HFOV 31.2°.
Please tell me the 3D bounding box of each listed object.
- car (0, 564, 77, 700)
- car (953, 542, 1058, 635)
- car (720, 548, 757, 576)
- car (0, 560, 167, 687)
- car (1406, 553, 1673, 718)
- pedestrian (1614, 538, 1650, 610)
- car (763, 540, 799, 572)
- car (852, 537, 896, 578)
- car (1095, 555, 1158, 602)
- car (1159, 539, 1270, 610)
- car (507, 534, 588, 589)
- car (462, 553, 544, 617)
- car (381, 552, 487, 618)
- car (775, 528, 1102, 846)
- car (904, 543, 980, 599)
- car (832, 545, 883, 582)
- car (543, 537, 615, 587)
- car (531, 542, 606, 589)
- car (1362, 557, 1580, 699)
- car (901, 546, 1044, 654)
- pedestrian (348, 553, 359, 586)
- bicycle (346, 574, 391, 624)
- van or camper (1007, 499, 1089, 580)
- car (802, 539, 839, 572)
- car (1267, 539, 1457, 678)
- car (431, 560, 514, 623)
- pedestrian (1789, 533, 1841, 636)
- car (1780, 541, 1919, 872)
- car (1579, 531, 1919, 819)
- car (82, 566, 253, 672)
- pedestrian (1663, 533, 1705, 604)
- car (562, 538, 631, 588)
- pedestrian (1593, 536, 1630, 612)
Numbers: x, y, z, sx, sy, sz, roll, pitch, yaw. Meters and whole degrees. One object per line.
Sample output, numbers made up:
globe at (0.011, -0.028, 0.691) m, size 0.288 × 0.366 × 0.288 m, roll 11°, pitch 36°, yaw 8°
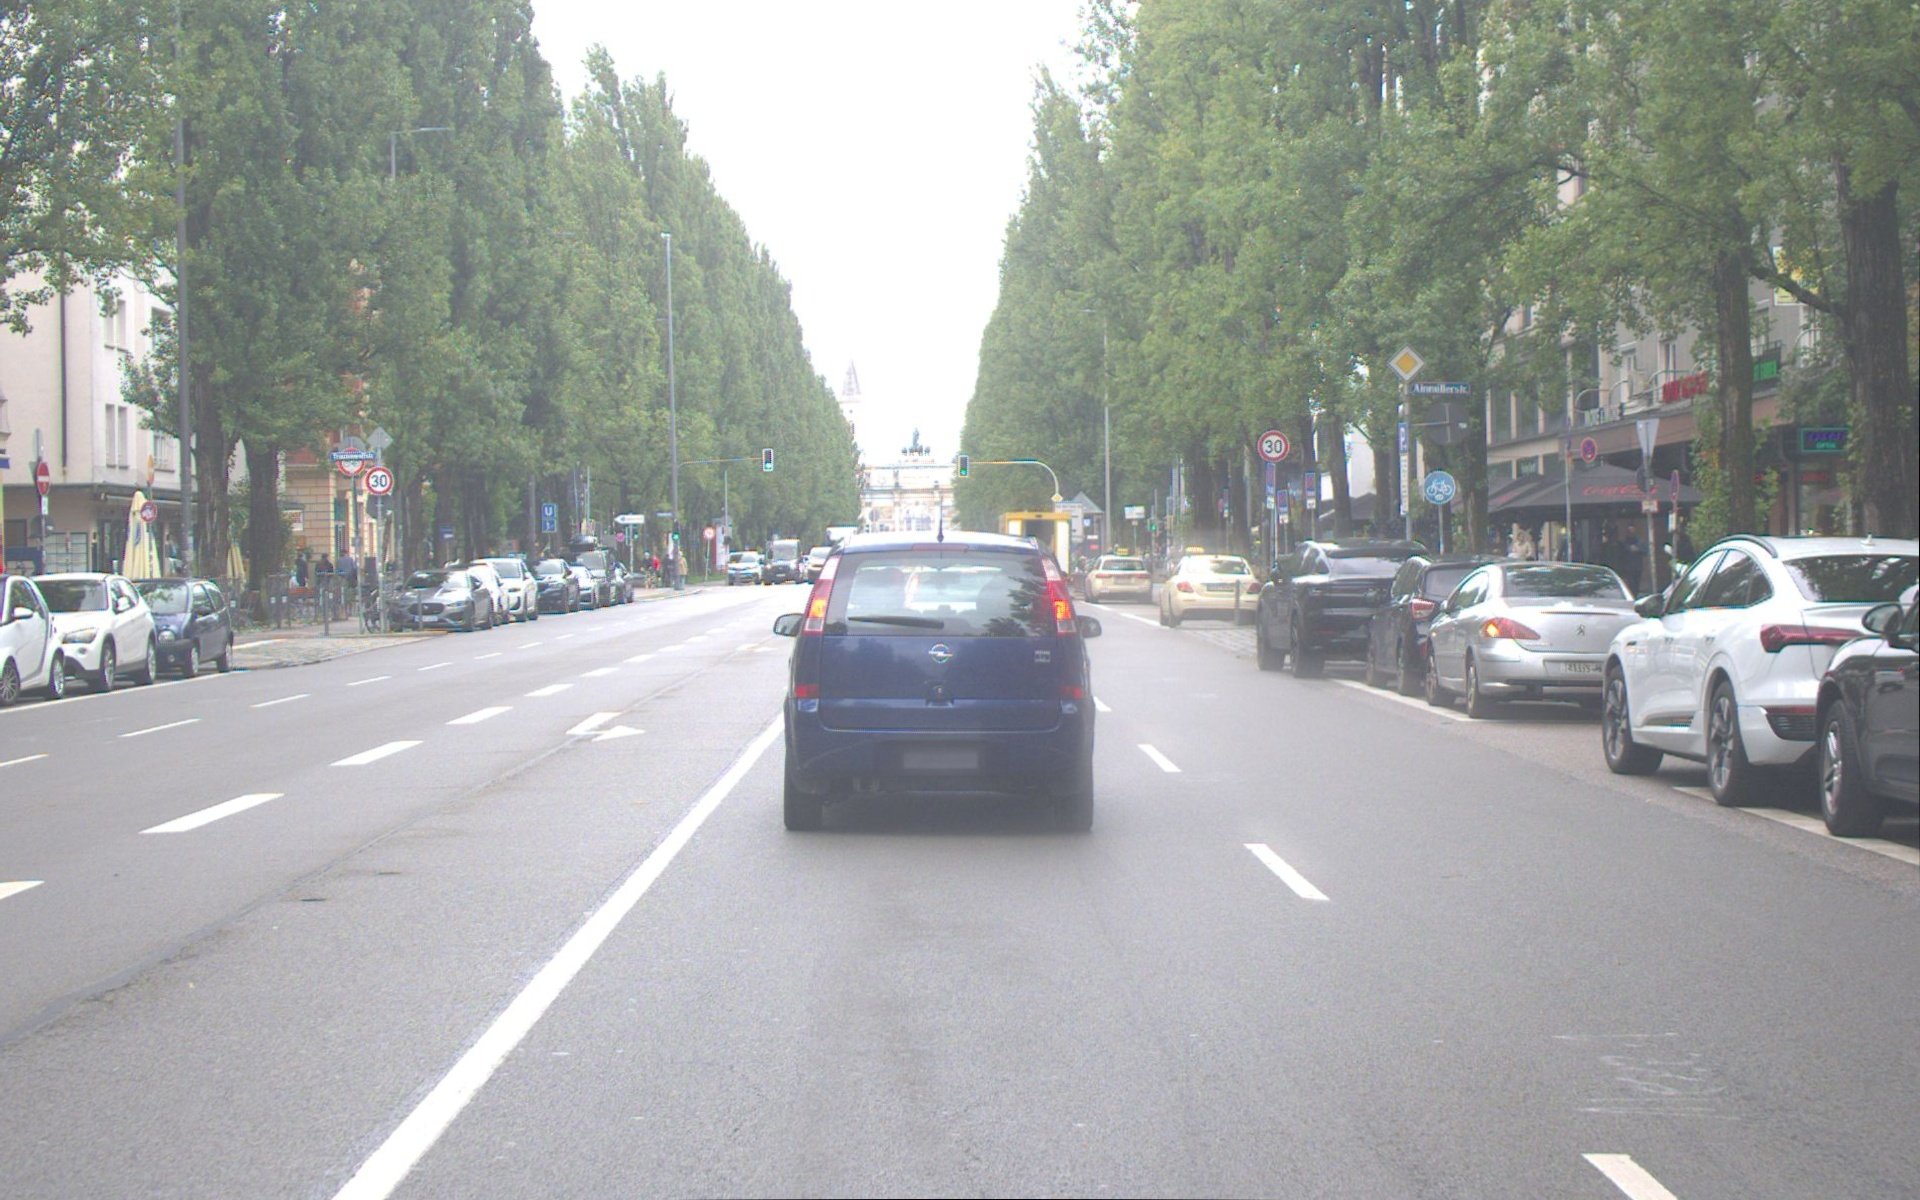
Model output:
car at (-11.647, 0.364, 40.645) m, size 1.573 × 1.528 × 2.922 m, roll -1°, pitch 1°, yaw 2°
car at (0.774, -0.235, 60.852) m, size 1.706 × 1.568 × 4.000 m, roll -1°, pitch 1°, yaw -1°
car at (-12.694, -2.165, 197.052) m, size 1.961 × 1.543 × 3.779 m, roll -1°, pitch 1°, yaw -1°
car at (-11.613, 0.274, 44.616) m, size 1.835 × 1.541 × 4.087 m, roll -1°, pitch 1°, yaw -3°
car at (5.320, 0.283, 32.020) m, size 1.670 × 1.401 × 4.128 m, roll 1°, pitch 1°, yaw -1°
pedestrian at (14.316, -0.558, 73.233) m, size 0.640 × 1.521 × 0.484 m, roll -1°, pitch 1°, yaw 0°
car at (-9.798, -2.428, 188.572) m, size 1.835 × 1.733 × 3.779 m, roll -1°, pitch 1°, yaw -1°
car at (-3.703, -1.843, 148.551) m, size 1.835 × 1.755 × 3.779 m, roll -1°, pitch 1°, yaw -1°
car at (5.005, -0.656, 103.632) m, size 1.669 × 1.348 × 4.104 m, roll -1°, pitch 1°, yaw 0°
car at (5.082, -0.535, 68.982) m, size 1.897 × 1.358 × 3.900 m, roll -1°, pitch 1°, yaw 0°
car at (-11.988, -1.128, 100.088) m, size 1.961 × 1.525 × 4.000 m, roll -1°, pitch 1°, yaw -2°
car at (-11.697, -0.400, 88.174) m, size 1.654 × 1.556 × 3.458 m, roll -1°, pitch 1°, yaw -1°
car at (-11.770, -0.354, 77.119) m, size 1.830 × 1.415 × 3.811 m, roll -1°, pitch 1°, yaw -1°
car at (-0.167, 0.410, 19.698) m, size 1.681 × 1.635 × 4.000 m, roll 0°, pitch 1°, yaw -2°
car at (-0.520, -0.814, 94.572) m, size 1.993 × 1.492 × 4.000 m, roll -1°, pitch 1°, yaw -1°
car at (-4.079, -1.459, 136.806) m, size 1.961 × 1.395 × 3.779 m, roll -1°, pitch 1°, yaw -1°
car at (-12.199, -1.231, 110.286) m, size 1.961 × 1.543 × 3.779 m, roll -1°, pitch 1°, yaw -1°
car at (-12.082, -1.071, 106.305) m, size 1.961 × 1.395 × 3.779 m, roll -1°, pitch 1°, yaw -1°
car at (5.399, 0.264, 36.696) m, size 1.681 × 1.410 × 3.583 m, roll 1°, pitch 1°, yaw -1°
car at (0.146, -0.032, 51.237) m, size 1.993 × 1.492 × 4.000 m, roll -1°, pitch 1°, yaw -2°
pedestrian at (-20.001, -1.004, 113.378) m, size 0.289 × 1.086 × 0.258 m, roll -1°, pitch 1°, yaw 5°
bicycle at (-12.310, -0.027, 71.597) m, size 0.665 × 1.002 × 2.462 m, roll -1°, pitch 1°, yaw -4°
van or camper at (2.895, -2.018, 114.383) m, size 2.476 × 2.572 × 5.844 m, roll -1°, pitch 1°, yaw 0°
car at (-7.239, -2.293, 178.283) m, size 1.835 × 1.671 × 3.779 m, roll -1°, pitch 1°, yaw -1°
car at (4.870, 0.068, 42.115) m, size 1.797 × 1.588 × 4.104 m, roll 1°, pitch 1°, yaw 0°
car at (-11.754, -0.216, 83.074) m, size 1.547 × 1.448 × 3.458 m, roll -1°, pitch 1°, yaw -1°
pedestrian at (14.664, -0.261, 58.947) m, size 0.653 × 1.745 × 0.860 m, roll 1°, pitch 0°, yaw 0°
car at (5.533, 0.490, 16.544) m, size 1.993 × 1.560 × 4.484 m, roll -1°, pitch 1°, yaw -1°
car at (5.320, 0.387, 21.752) m, size 1.827 × 1.615 × 4.748 m, roll 0°, pitch 1°, yaw -1°
car at (-11.468, 0.251, 49.904) m, size 1.586 × 1.442 × 3.391 m, roll -1°, pitch 1°, yaw 2°
pedestrian at (15.002, -0.653, 71.242) m, size 0.684 × 1.464 × 0.678 m, roll -1°, pitch 1°, yaw 0°
car at (-12.344, -1.269, 117.013) m, size 1.993 × 1.656 × 4.000 m, roll -1°, pitch 1°, yaw -1°
pedestrian at (13.129, -0.533, 69.296) m, size 0.640 × 1.521 × 0.484 m, roll -1°, pitch 1°, yaw 0°
